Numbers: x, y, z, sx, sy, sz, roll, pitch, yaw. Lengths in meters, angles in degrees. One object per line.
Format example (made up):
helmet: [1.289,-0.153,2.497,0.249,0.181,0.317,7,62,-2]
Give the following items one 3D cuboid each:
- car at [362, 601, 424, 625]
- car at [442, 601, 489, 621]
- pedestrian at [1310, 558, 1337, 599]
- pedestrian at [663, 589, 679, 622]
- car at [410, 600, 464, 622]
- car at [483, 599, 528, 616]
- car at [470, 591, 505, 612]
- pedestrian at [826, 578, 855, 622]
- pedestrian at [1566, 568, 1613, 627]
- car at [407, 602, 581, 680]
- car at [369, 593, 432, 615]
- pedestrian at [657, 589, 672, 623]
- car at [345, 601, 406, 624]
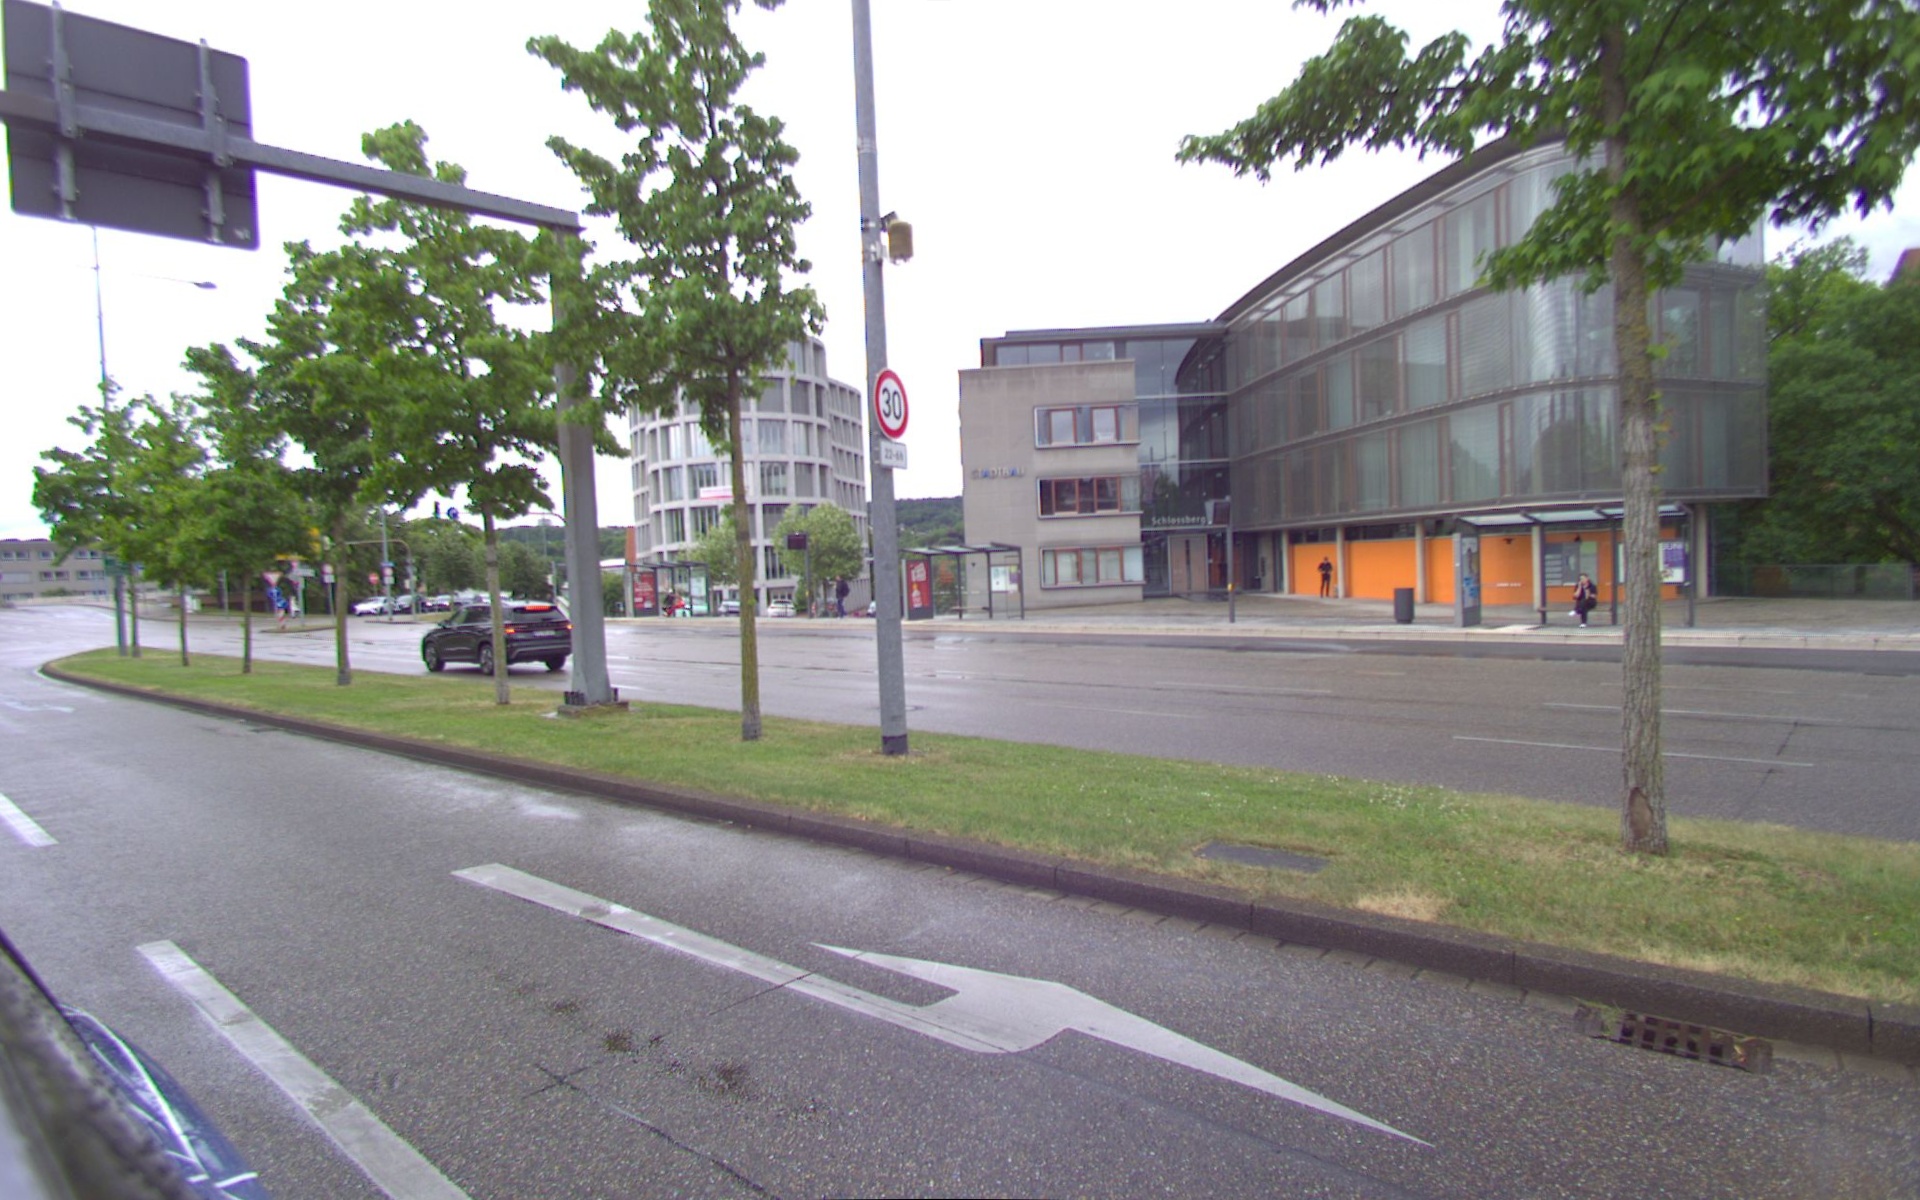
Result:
car: [-43.303,0.965,77.417,2.164,1.725,4.919,-1,0,-3]
car: [-45.330,0.992,92.879,2.164,1.725,4.920,-1,0,-3]
pedestrian: [15.067,-0.877,41.921,0.697,1.666,0.852,-1,0,-6]
pedestrian: [-14.544,0.291,50.922,0.535,1.647,0.514,-1,0,41]
car: [-44.272,0.877,85.764,2.164,1.725,4.919,-1,0,-3]
car: [-47.557,0.805,105.841,4.906,1.725,2.170,-1,0,36]
car: [-46.674,0.170,100.052,1.969,2.029,4.005,-1,-1,-6]
pedestrian: [-4.901,-0.014,41.503,0.964,1.773,0.783,-1,0,12]
pedestrian: [14.618,-0.053,23.495,0.790,1.334,0.793,-1,0,42]
car: [-11.143,0.922,24.073,4.592,1.652,1.805,-1,1,37]
car: [-55.761,0.371,100.915,4.963,2.029,2.311,-1,0,0]
pedestrian: [-14.715,0.297,50.354,0.501,1.647,0.497,-1,0,41]
car: [-46.648,0.975,80.849,2.164,1.725,4.919,-1,0,-2]
